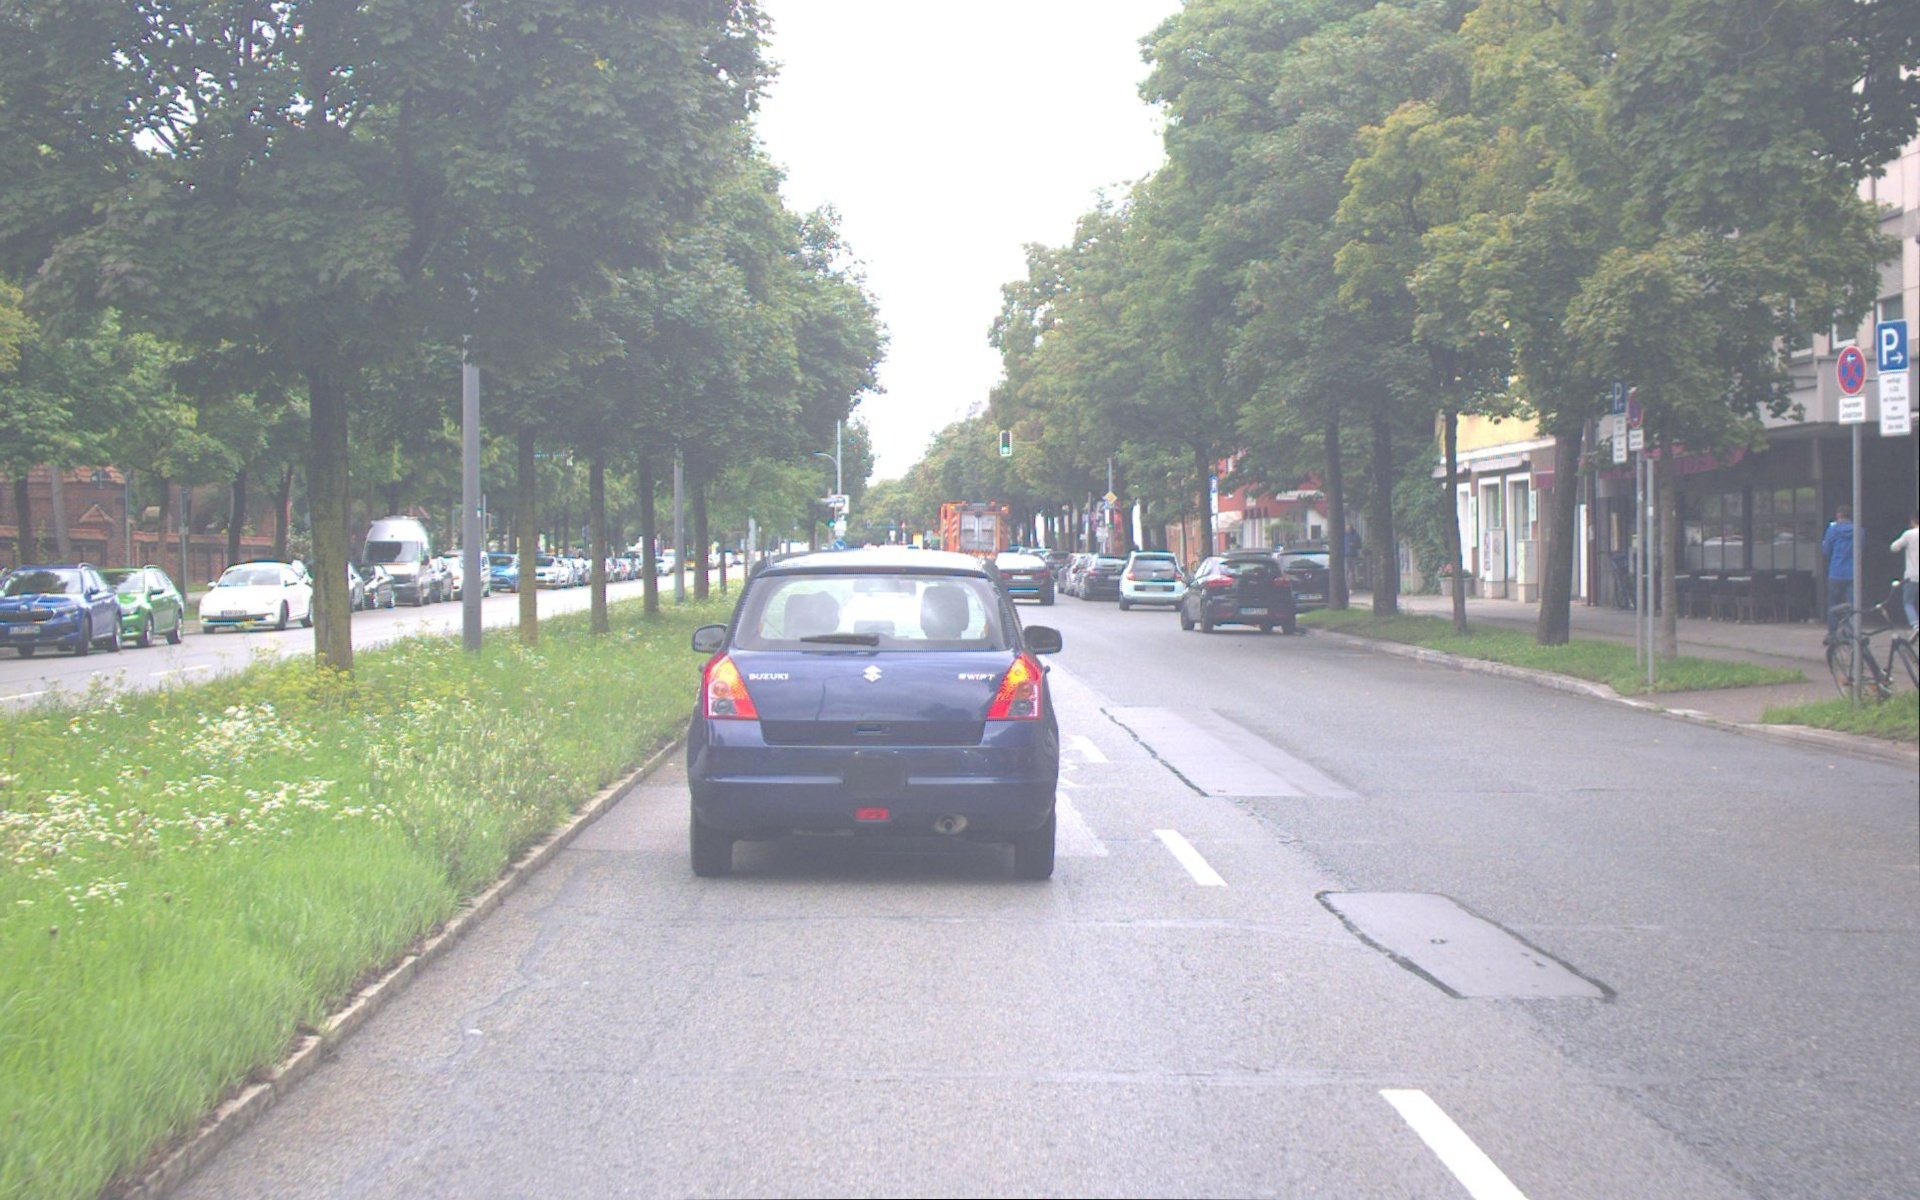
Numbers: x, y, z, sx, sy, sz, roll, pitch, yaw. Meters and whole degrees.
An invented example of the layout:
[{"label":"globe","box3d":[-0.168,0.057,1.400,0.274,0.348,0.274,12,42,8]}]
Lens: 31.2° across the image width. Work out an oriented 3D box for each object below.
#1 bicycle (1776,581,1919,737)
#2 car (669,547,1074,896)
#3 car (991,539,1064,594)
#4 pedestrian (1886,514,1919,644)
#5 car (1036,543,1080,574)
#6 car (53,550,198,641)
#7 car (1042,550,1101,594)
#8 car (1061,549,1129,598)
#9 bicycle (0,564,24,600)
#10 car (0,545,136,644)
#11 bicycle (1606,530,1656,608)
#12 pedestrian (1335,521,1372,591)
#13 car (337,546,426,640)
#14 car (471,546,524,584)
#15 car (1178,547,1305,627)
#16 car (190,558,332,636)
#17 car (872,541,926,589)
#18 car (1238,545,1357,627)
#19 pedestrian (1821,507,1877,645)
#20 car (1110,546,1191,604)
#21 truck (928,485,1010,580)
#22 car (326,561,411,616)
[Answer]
[{"label":"bicycle","box3d":[7.708,0.479,29.145,0.454,1.251,2.150,-1,1,-19]},{"label":"car","box3d":[-0.390,0.497,16.915,1.753,1.499,4.000,0,1,0]},{"label":"car","box3d":[1.887,-0.954,97.003,1.821,1.472,4.691,2,1,-1]},{"label":"pedestrian","box3d":[12.113,-0.277,43.527,0.549,1.624,0.641,-2,1,-1]},{"label":"car","box3d":[4.888,-2.070,171.709,1.993,1.525,4.000,-1,1,-1]},{"label":"car","box3d":[-15.389,-0.108,63.565,1.638,1.532,4.315,-3,1,-1]},{"label":"car","box3d":[3.749,-0.950,115.955,1.653,1.447,4.001,0,1,-3]},{"label":"car","box3d":[4.125,-0.832,105.696,1.653,1.447,4.709,0,1,-3]},{"label":"bicycle","box3d":[-25.158,-0.481,90.554,0.655,0.933,1.620,0,1,-3]},{"label":"car","box3d":[-15.248,-0.114,57.776,1.886,1.532,4.315,-3,1,-3]},{"label":"bicycle","box3d":[12.753,-0.597,65.384,0.580,1.458,1.688,-1,1,-1]},{"label":"pedestrian","box3d":[10.597,-1.189,92.651,0.792,1.849,0.777,-2,1,-3]},{"label":"car","box3d":[-18.696,-0.256,111.286,2.185,2.943,6.193,0,1,-3]},{"label":"car","box3d":[-19.230,-1.475,143.013,1.706,1.529,4.000,-1,1,-1]},{"label":"car","box3d":[5.240,-0.270,64.404,1.993,1.447,4.000,0,1,-1]},{"label":"car","box3d":[-15.408,-0.093,75.997,1.761,1.532,4.314,-3,1,7]},{"label":"car","box3d":[-1.966,-1.138,110.658,1.718,1.495,4.301,0,1,-1]},{"label":"car","box3d":[7.036,-0.325,72.048,1.993,1.637,4.333,0,1,-1]},{"label":"pedestrian","box3d":[11.245,-0.303,43.491,0.499,1.727,0.733,0,1,-1]},{"label":"car","box3d":[4.908,-0.656,89.048,1.653,1.447,4.001,0,1,-3]},{"label":"truck","box3d":[0.324,-2.637,135.243,3.041,3.545,13.675,0,1,0]},{"label":"car","box3d":[-16.999,-0.354,98.990,1.813,1.531,4.442,0,1,-2]}]
